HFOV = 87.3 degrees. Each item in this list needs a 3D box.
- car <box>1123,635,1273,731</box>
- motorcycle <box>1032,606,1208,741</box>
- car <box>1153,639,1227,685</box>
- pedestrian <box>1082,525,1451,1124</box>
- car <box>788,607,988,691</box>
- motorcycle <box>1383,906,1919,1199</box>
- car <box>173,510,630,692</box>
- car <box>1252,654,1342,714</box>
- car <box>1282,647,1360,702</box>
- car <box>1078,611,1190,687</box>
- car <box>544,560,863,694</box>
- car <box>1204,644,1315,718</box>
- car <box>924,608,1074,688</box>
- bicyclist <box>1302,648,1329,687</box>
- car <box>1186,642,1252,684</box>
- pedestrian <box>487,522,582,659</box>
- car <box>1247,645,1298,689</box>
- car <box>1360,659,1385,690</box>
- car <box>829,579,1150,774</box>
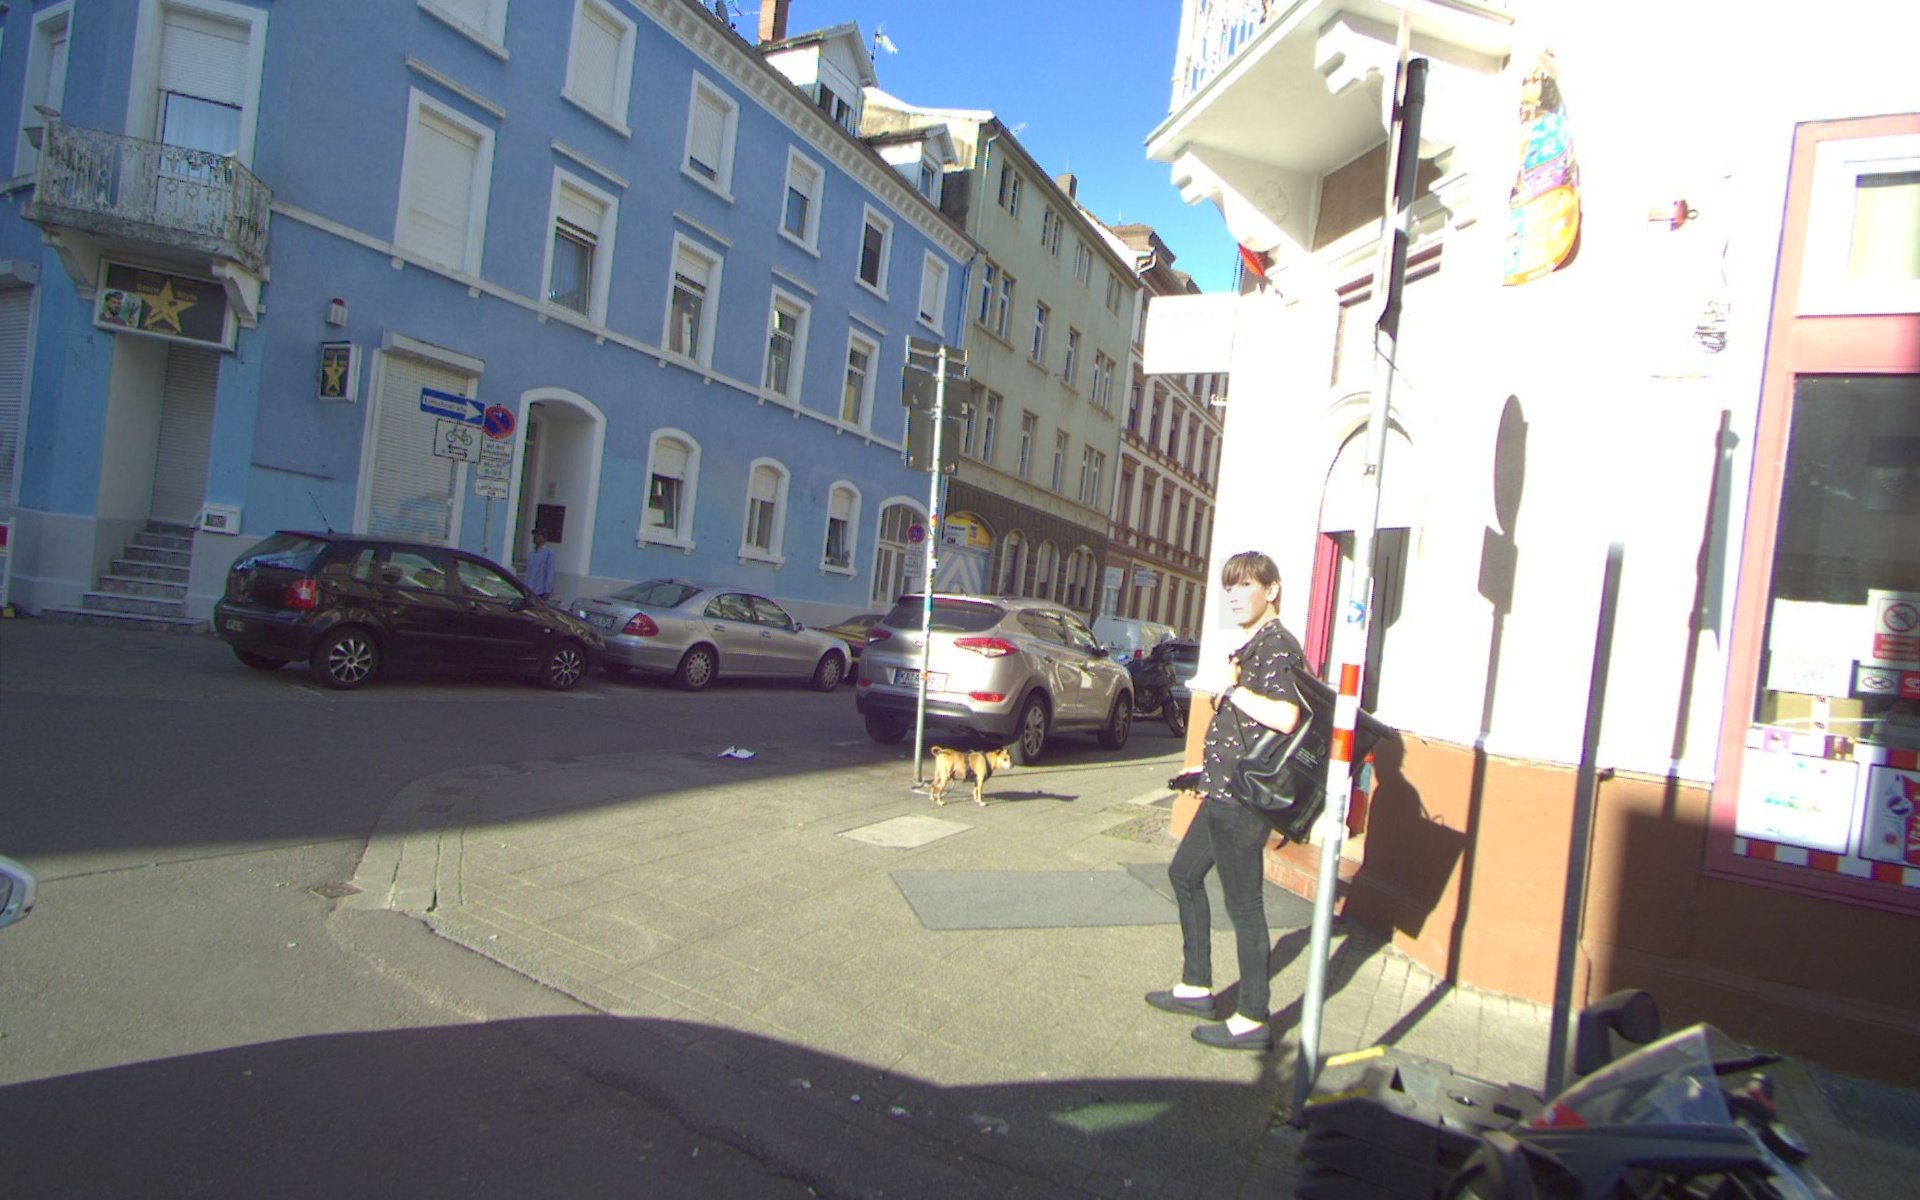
[{"bbox_3d":[4.625,1.573,19.133,1.722,1.530,3.912,3,-3,29],"label":"car"},{"bbox_3d":[2.338,1.081,14.608,2.309,1.668,0.846,8,-1,-27],"label":"motorcycle"},{"bbox_3d":[8.881,2.401,38.639,1.722,1.530,3.912,3,-3,29],"label":"car"},{"bbox_3d":[1.060,0.704,3.657,0.971,1.817,0.828,6,2,14],"label":"pedestrian"},{"bbox_3d":[-1.240,0.998,19.206,1.727,1.242,4.160,6,-1,29],"label":"car"},{"bbox_3d":[1.543,1.178,1.067,1.967,1.098,0.719,6,-3,40],"label":"motorcycle"},{"bbox_3d":[-5.674,0.131,10.748,1.648,1.471,3.876,7,-1,29],"label":"car"},{"bbox_3d":[9.730,2.416,28.874,1.722,1.469,3.912,3,-3,29],"label":"car"},{"bbox_3d":[11.707,2.426,32.497,1.722,1.530,3.912,3,-3,29],"label":"car"},{"bbox_3d":[5.603,1.613,31.938,1.805,1.969,4.546,8,-1,30],"label":"car"},{"bbox_3d":[-3.513,0.496,14.681,1.727,1.451,4.478,9,0,30],"label":"car"},{"bbox_3d":[7.313,1.960,24.335,1.722,1.530,3.912,3,-3,29],"label":"car"},{"bbox_3d":[1.026,1.187,23.839,1.727,1.494,3.976,9,0,30],"label":"car"},{"bbox_3d":[14.632,2.785,41.430,0.751,1.488,1.003,6,-1,28],"label":"bicyclist"},{"bbox_3d":[10.997,2.693,42.553,1.722,1.530,3.912,3,-3,29],"label":"car"},{"bbox_3d":[-6.255,-0.129,14.803,0.767,1.871,0.771,6,-1,28],"label":"pedestrian"},{"bbox_3d":[16.413,3.554,52.677,1.722,2.077,3.912,3,-3,29],"label":"car"},{"bbox_3d":[41.825,7.558,102.041,1.722,2.949,4.188,3,-3,29],"label":"car"},{"bbox_3d":[0.545,0.839,11.235,1.825,1.651,4.068,4,-2,29],"label":"car"}]
